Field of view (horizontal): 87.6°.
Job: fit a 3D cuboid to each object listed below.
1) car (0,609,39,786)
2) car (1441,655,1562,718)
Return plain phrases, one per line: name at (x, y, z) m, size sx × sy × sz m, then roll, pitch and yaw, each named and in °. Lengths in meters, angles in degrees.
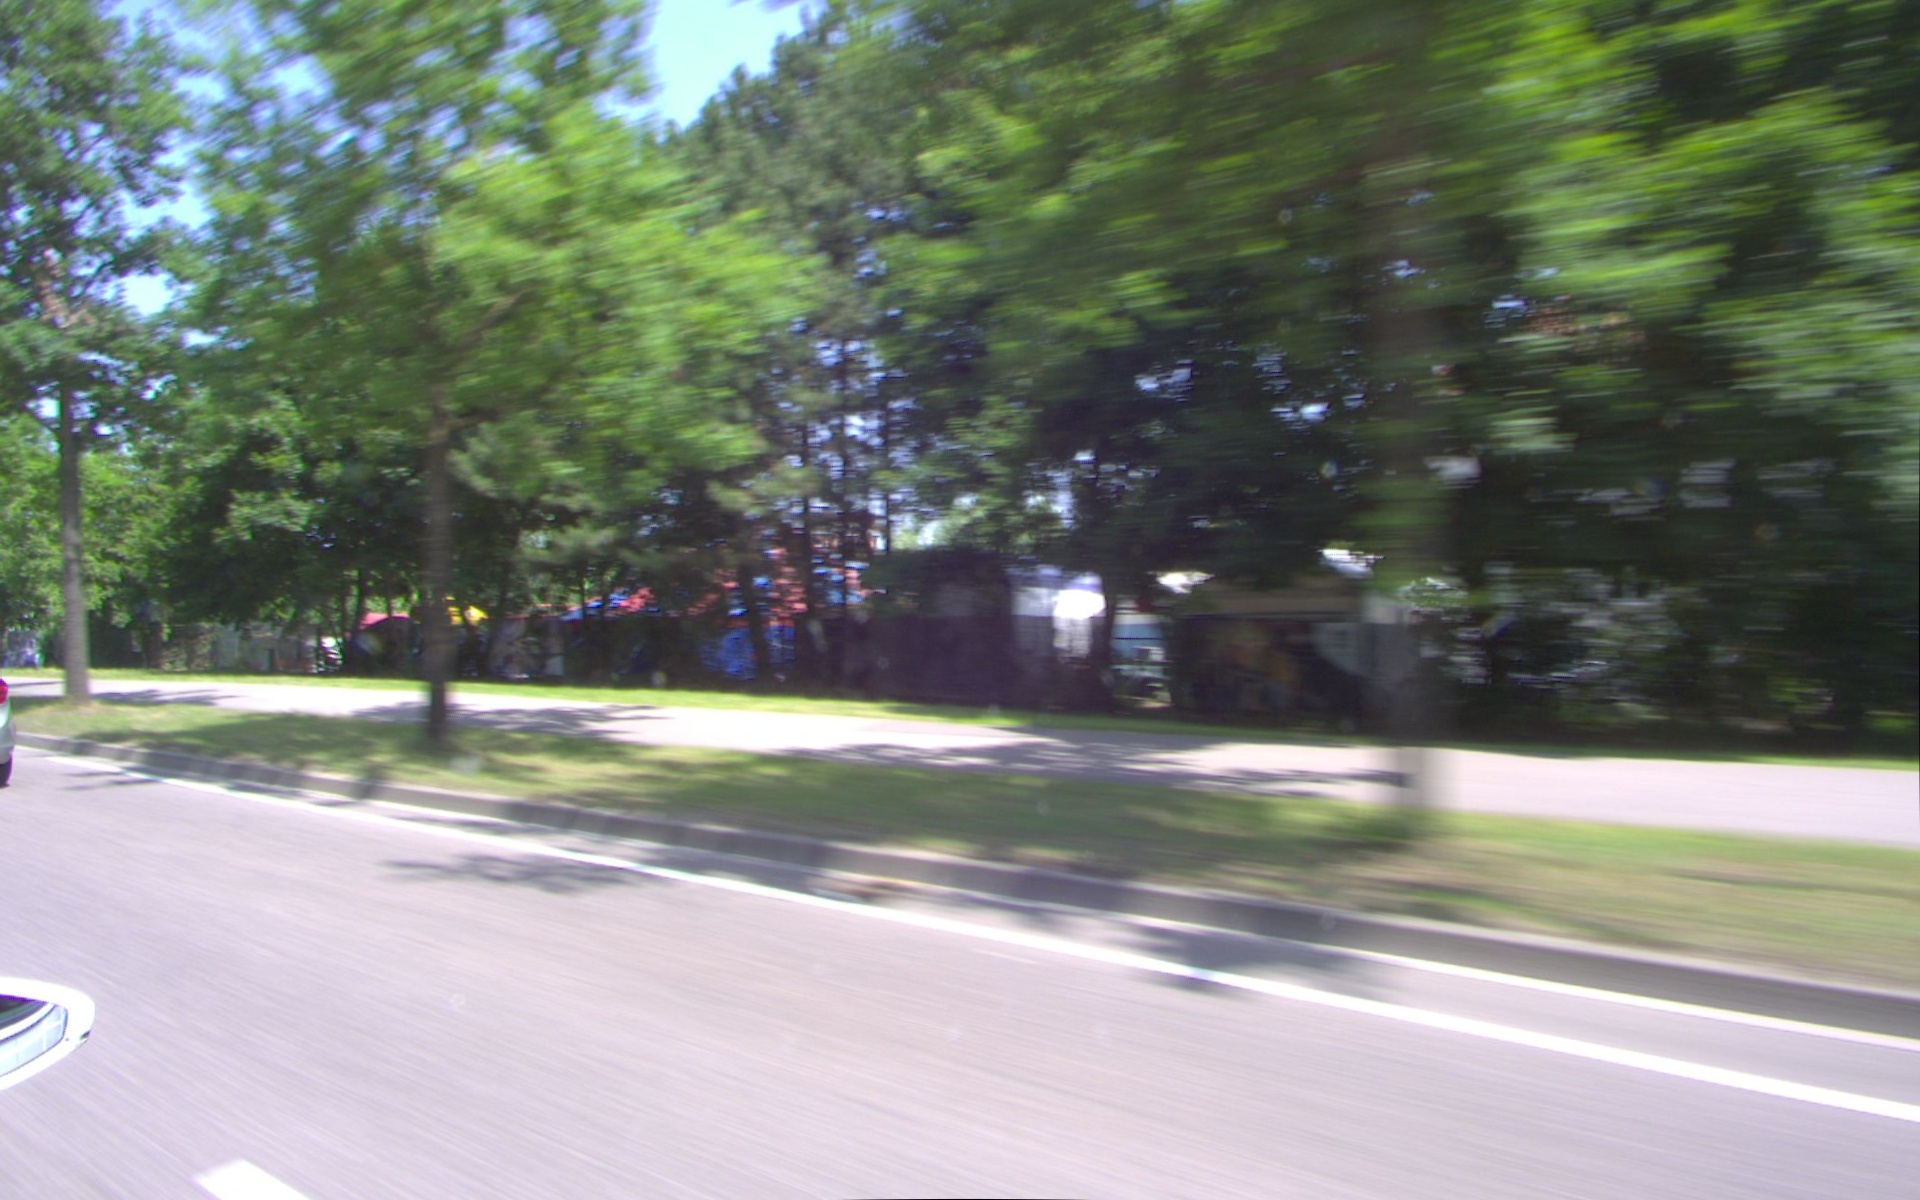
car at (-10.806, 0.911, 9.746) m, size 3.835 × 1.632 × 1.789 m, roll -1°, pitch -2°, yaw 33°
car at (11.596, 1.796, 21.376) m, size 3.160 × 1.104 × 1.323 m, roll 0°, pitch -1°, yaw -43°
